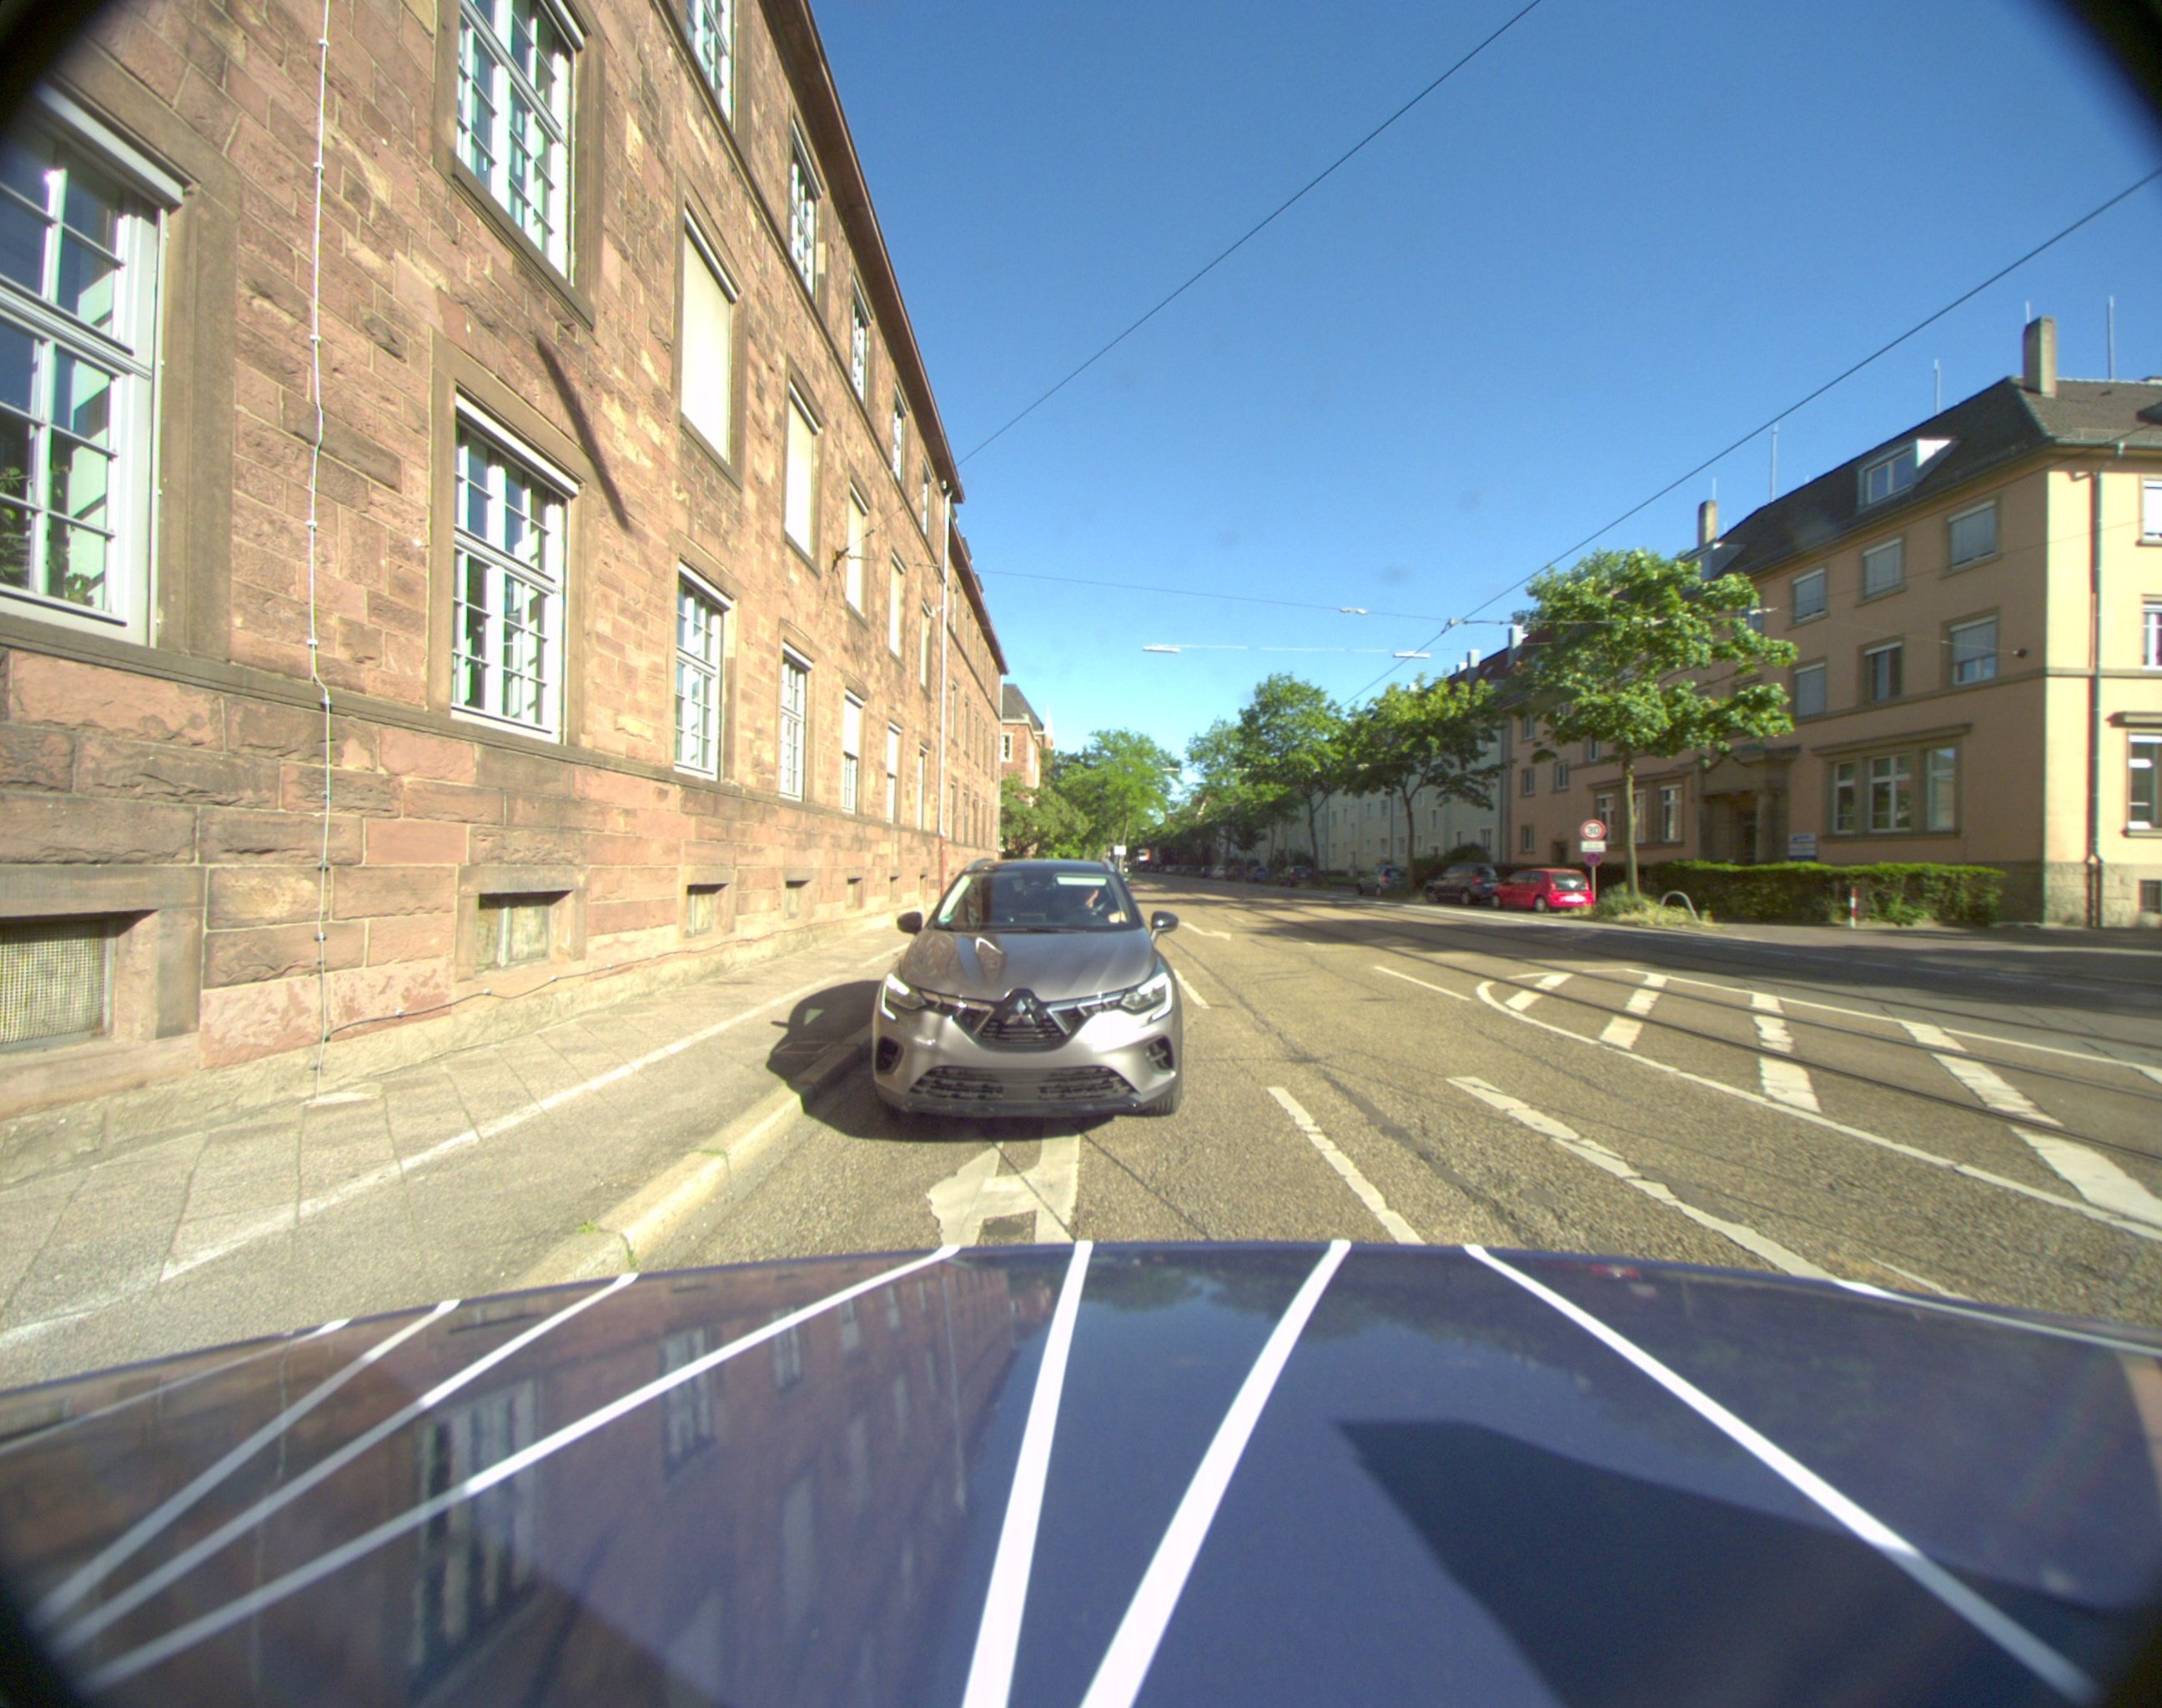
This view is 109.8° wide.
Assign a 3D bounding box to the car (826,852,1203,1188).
[{"bbox_3d":[-0.364,0.809,5.559,1.796,1.595,3.799,-1,0,-2],"label":"car"}]

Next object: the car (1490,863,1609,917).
[{"bbox_3d":[15.856,1.166,25.922,1.816,1.696,3.374,1,0,-3],"label":"car"}]

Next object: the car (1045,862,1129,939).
[{"bbox_3d":[0.074,1.016,18.474,1.796,1.638,4.083,-1,0,-2],"label":"car"}]

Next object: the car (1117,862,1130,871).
[{"bbox_3d":[7.303,2.099,129.545,1.912,1.510,4.000,1,0,-1],"label":"car"}]

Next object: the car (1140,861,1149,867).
[{"bbox_3d":[16.071,2.510,191.235,1.816,1.411,3.630,1,0,-2],"label":"car"}]

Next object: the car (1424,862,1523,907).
[{"bbox_3d":[15.646,1.170,30.530,1.816,1.648,3.819,1,0,-3],"label":"car"}]

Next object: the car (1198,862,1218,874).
[{"bbox_3d":[15.847,1.760,94.840,1.816,1.411,3.630,1,0,-2],"label":"car"}]

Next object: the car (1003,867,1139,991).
[{"bbox_3d":[-0.179,1.033,12.026,1.796,1.595,3.799,-1,0,-2],"label":"car"}]

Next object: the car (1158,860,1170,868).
[{"bbox_3d":[15.980,1.857,146.859,1.816,1.514,3.630,1,0,-2],"label":"car"}]

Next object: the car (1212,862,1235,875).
[{"bbox_3d":[16.032,1.671,85.913,1.816,1.411,3.630,1,0,-2],"label":"car"}]

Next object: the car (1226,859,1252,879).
[{"bbox_3d":[15.903,1.532,76.554,1.816,1.929,3.630,1,0,-2],"label":"car"}]

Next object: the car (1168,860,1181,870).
[{"bbox_3d":[16.591,1.947,135.221,1.816,1.768,3.630,1,0,-2],"label":"car"}]

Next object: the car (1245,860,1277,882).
[{"bbox_3d":[15.974,1.474,67.477,1.816,1.814,3.795,1,0,-2],"label":"car"}]

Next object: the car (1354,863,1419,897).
[{"bbox_3d":[15.733,1.301,39.340,1.816,1.648,3.877,1,0,1],"label":"car"}]

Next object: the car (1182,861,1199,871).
[{"bbox_3d":[16.042,1.747,111.713,1.816,1.411,3.630,1,0,-2],"label":"car"}]

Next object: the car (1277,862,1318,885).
[{"bbox_3d":[15.792,1.430,55.584,1.816,1.589,3.630,1,0,-2],"label":"car"}]
